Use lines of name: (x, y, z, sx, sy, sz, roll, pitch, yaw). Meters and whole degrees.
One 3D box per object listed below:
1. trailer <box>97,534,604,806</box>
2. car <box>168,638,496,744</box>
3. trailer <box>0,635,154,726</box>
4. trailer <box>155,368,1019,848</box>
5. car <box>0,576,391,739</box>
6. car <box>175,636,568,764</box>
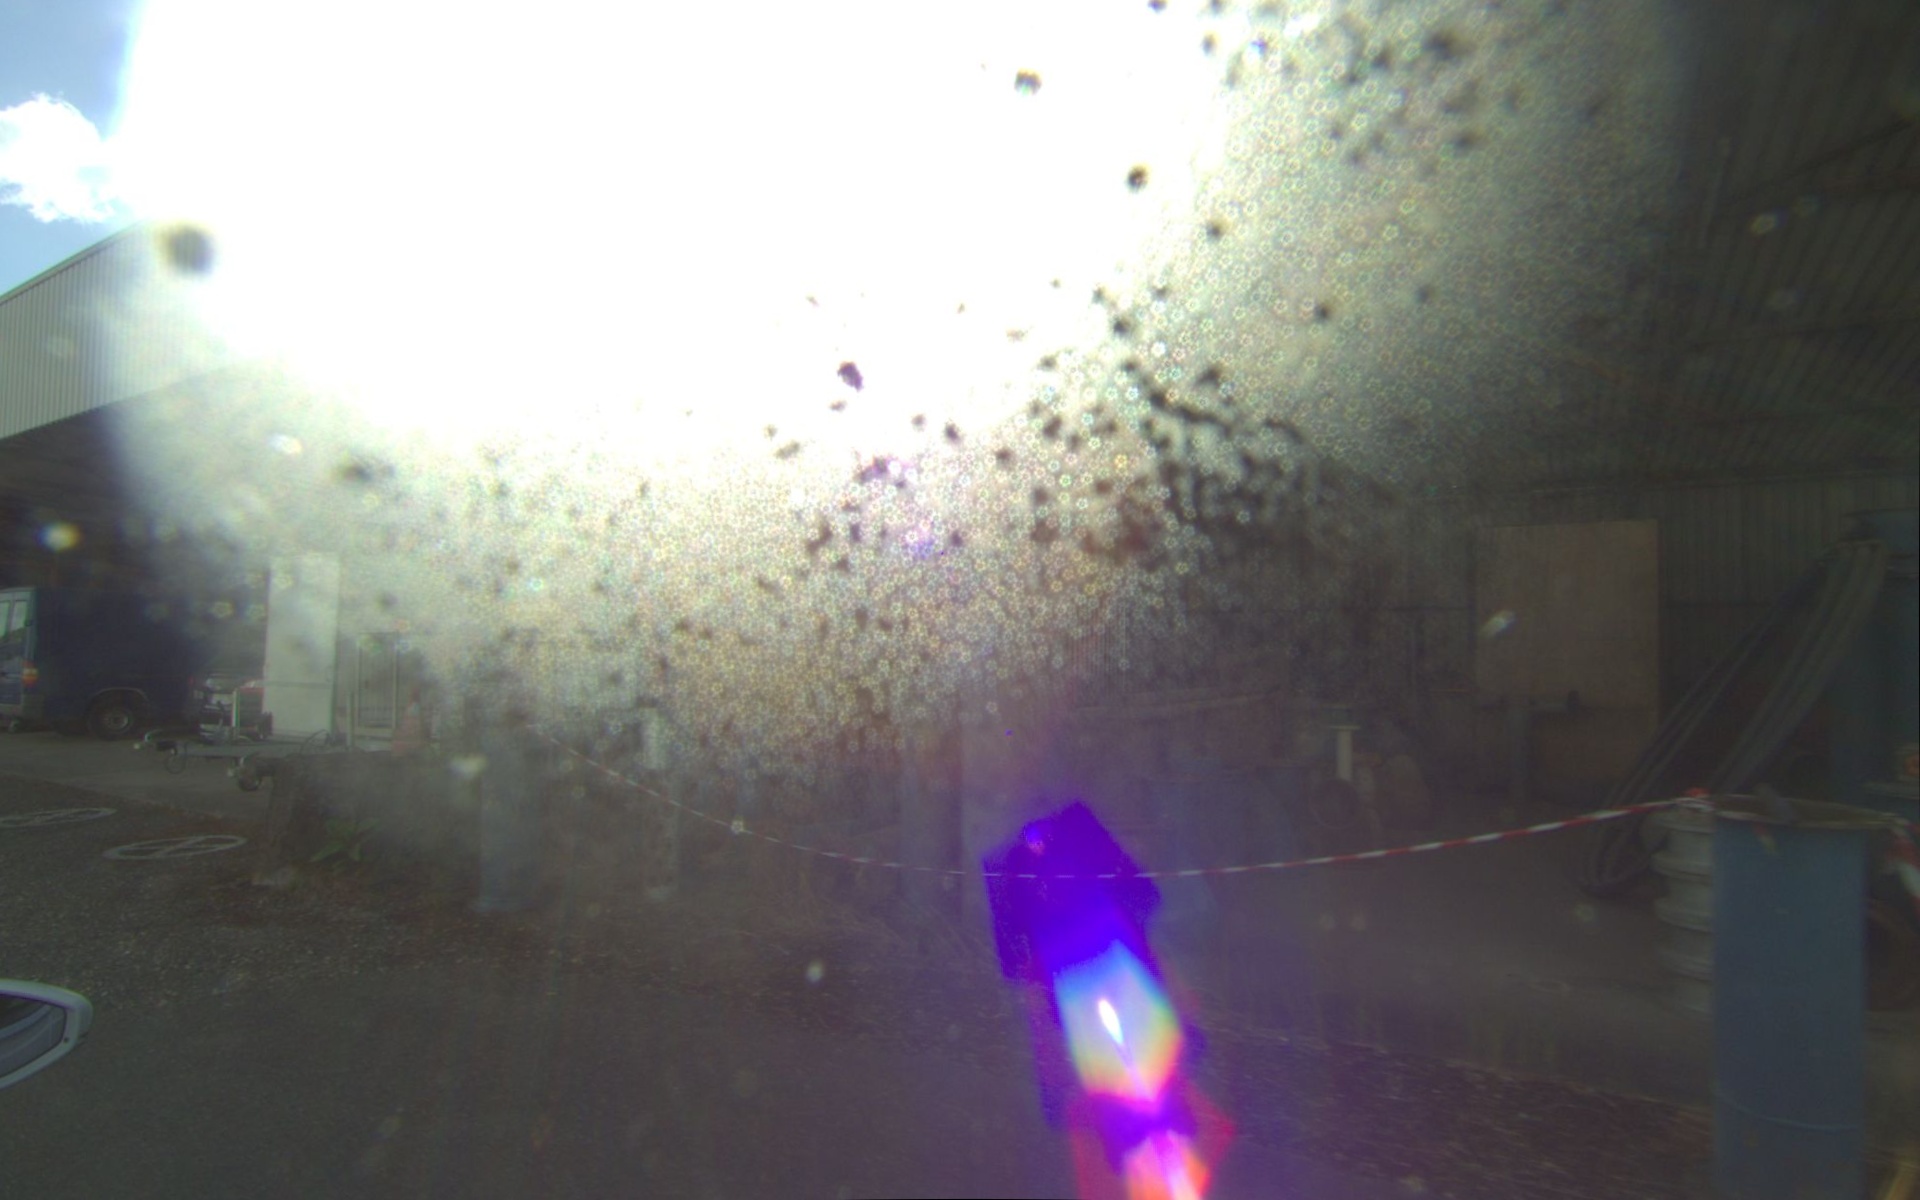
trailer: (-6.377, 0.701, 11.096, 1.664, 2.364, 4.535, -1, -2, 32)
car: (-9.870, 1.347, 16.075, 1.824, 1.472, 4.102, -1, -3, 31)
trailer: (-15.689, 1.378, 17.508, 1.619, 1.480, 2.090, -2, -4, 35)
trailer: (-2.900, 0.246, 12.040, 2.637, 3.337, 10.277, -1, -2, 32)
car: (-12.931, 0.975, 17.115, 2.053, 2.325, 5.212, -1, -3, 31)
car: (-7.773, 1.233, 13.724, 1.836, 1.451, 4.342, -1, -2, 28)
